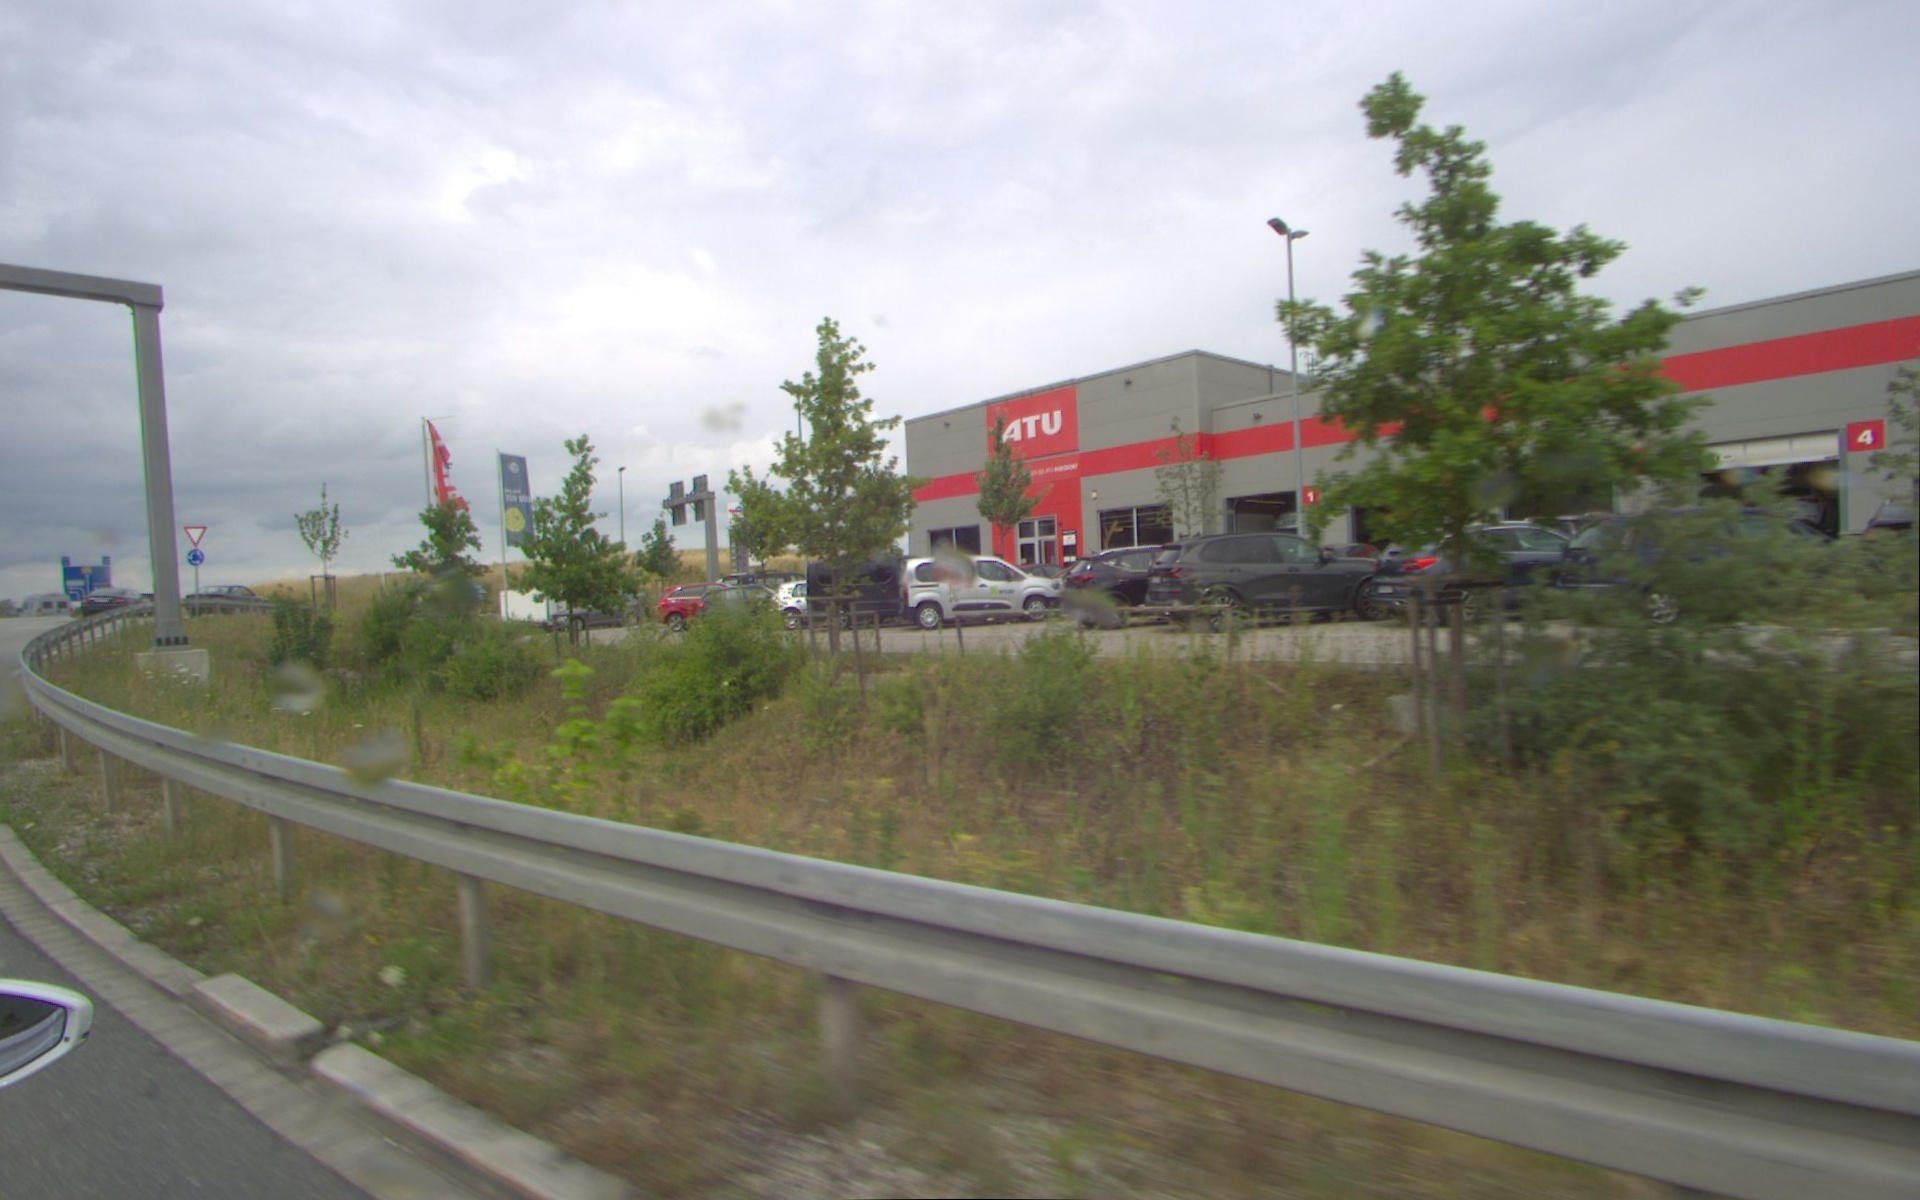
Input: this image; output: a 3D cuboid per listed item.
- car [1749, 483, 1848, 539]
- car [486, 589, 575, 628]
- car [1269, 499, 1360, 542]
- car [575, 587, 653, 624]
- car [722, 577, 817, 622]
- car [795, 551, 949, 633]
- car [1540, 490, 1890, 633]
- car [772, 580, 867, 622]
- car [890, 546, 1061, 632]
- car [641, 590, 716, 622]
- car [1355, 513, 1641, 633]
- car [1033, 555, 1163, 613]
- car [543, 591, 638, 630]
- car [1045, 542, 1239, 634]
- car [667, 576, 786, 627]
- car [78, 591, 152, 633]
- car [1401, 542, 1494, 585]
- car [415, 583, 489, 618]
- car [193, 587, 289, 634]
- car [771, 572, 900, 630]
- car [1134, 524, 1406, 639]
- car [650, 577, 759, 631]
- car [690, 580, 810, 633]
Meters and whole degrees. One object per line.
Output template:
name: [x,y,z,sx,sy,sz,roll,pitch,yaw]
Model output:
car: [24.421,-2.541,29.117,3.871,1.241,1.647,0,-1,-41]
car: [-20.013,0.401,46.695,3.517,1.648,1.643,-2,2,14]
car: [14.099,-3.131,39.748,3.870,1.536,1.780,-2,3,-41]
car: [-17.328,0.283,50.178,3.525,1.716,1.639,-1,2,26]
car: [-7.907,-0.031,41.723,1.579,1.759,3.575,-1,1,44]
car: [-2.408,-0.233,28.146,4.049,1.977,1.880,-4,2,-2]
car: [10.579,-0.534,14.202,3.693,1.660,1.667,-4,2,-2]
car: [-5.640,0.023,40.439,1.579,1.598,3.575,-1,1,44]
car: [0.349,-0.314,25.941,4.113,1.867,1.831,-4,2,-7]
car: [-15.124,0.323,53.773,3.600,1.568,1.690,-1,2,26]
car: [8.754,-0.450,16.493,3.735,1.629,1.757,-4,2,-3]
car: [4.042,-0.480,29.004,3.924,1.408,1.581,-6,3,-43]
car: [-16.533,0.450,44.889,3.636,1.502,1.490,-3,0,-43]
car: [3.846,-0.279,21.371,3.639,1.652,1.647,-4,2,-12]
car: [-10.065,0.057,43.397,1.889,2.080,4.774,-1,0,42]
car: [-39.450,0.517,46.841,1.874,1.807,4.134,-3,2,-30]
car: [17.390,-1.310,35.652,3.557,1.461,1.672,-2,3,-40]
car: [-32.686,0.002,64.461,3.998,2.041,1.782,-3,2,-36]
car: [-30.806,0.415,43.016,1.627,1.863,3.953,-2,1,-8]
car: [-3.738,0.015,30.516,3.687,1.461,1.592,-4,2,-3]
car: [5.727,-0.368,18.781,4.463,1.758,1.831,-4,2,-6]
car: [-8.921,0.120,35.193,3.395,1.646,1.549,-4,2,-4]
car: [-6.787,0.198,32.668,3.567,1.439,1.613,-4,2,-4]
